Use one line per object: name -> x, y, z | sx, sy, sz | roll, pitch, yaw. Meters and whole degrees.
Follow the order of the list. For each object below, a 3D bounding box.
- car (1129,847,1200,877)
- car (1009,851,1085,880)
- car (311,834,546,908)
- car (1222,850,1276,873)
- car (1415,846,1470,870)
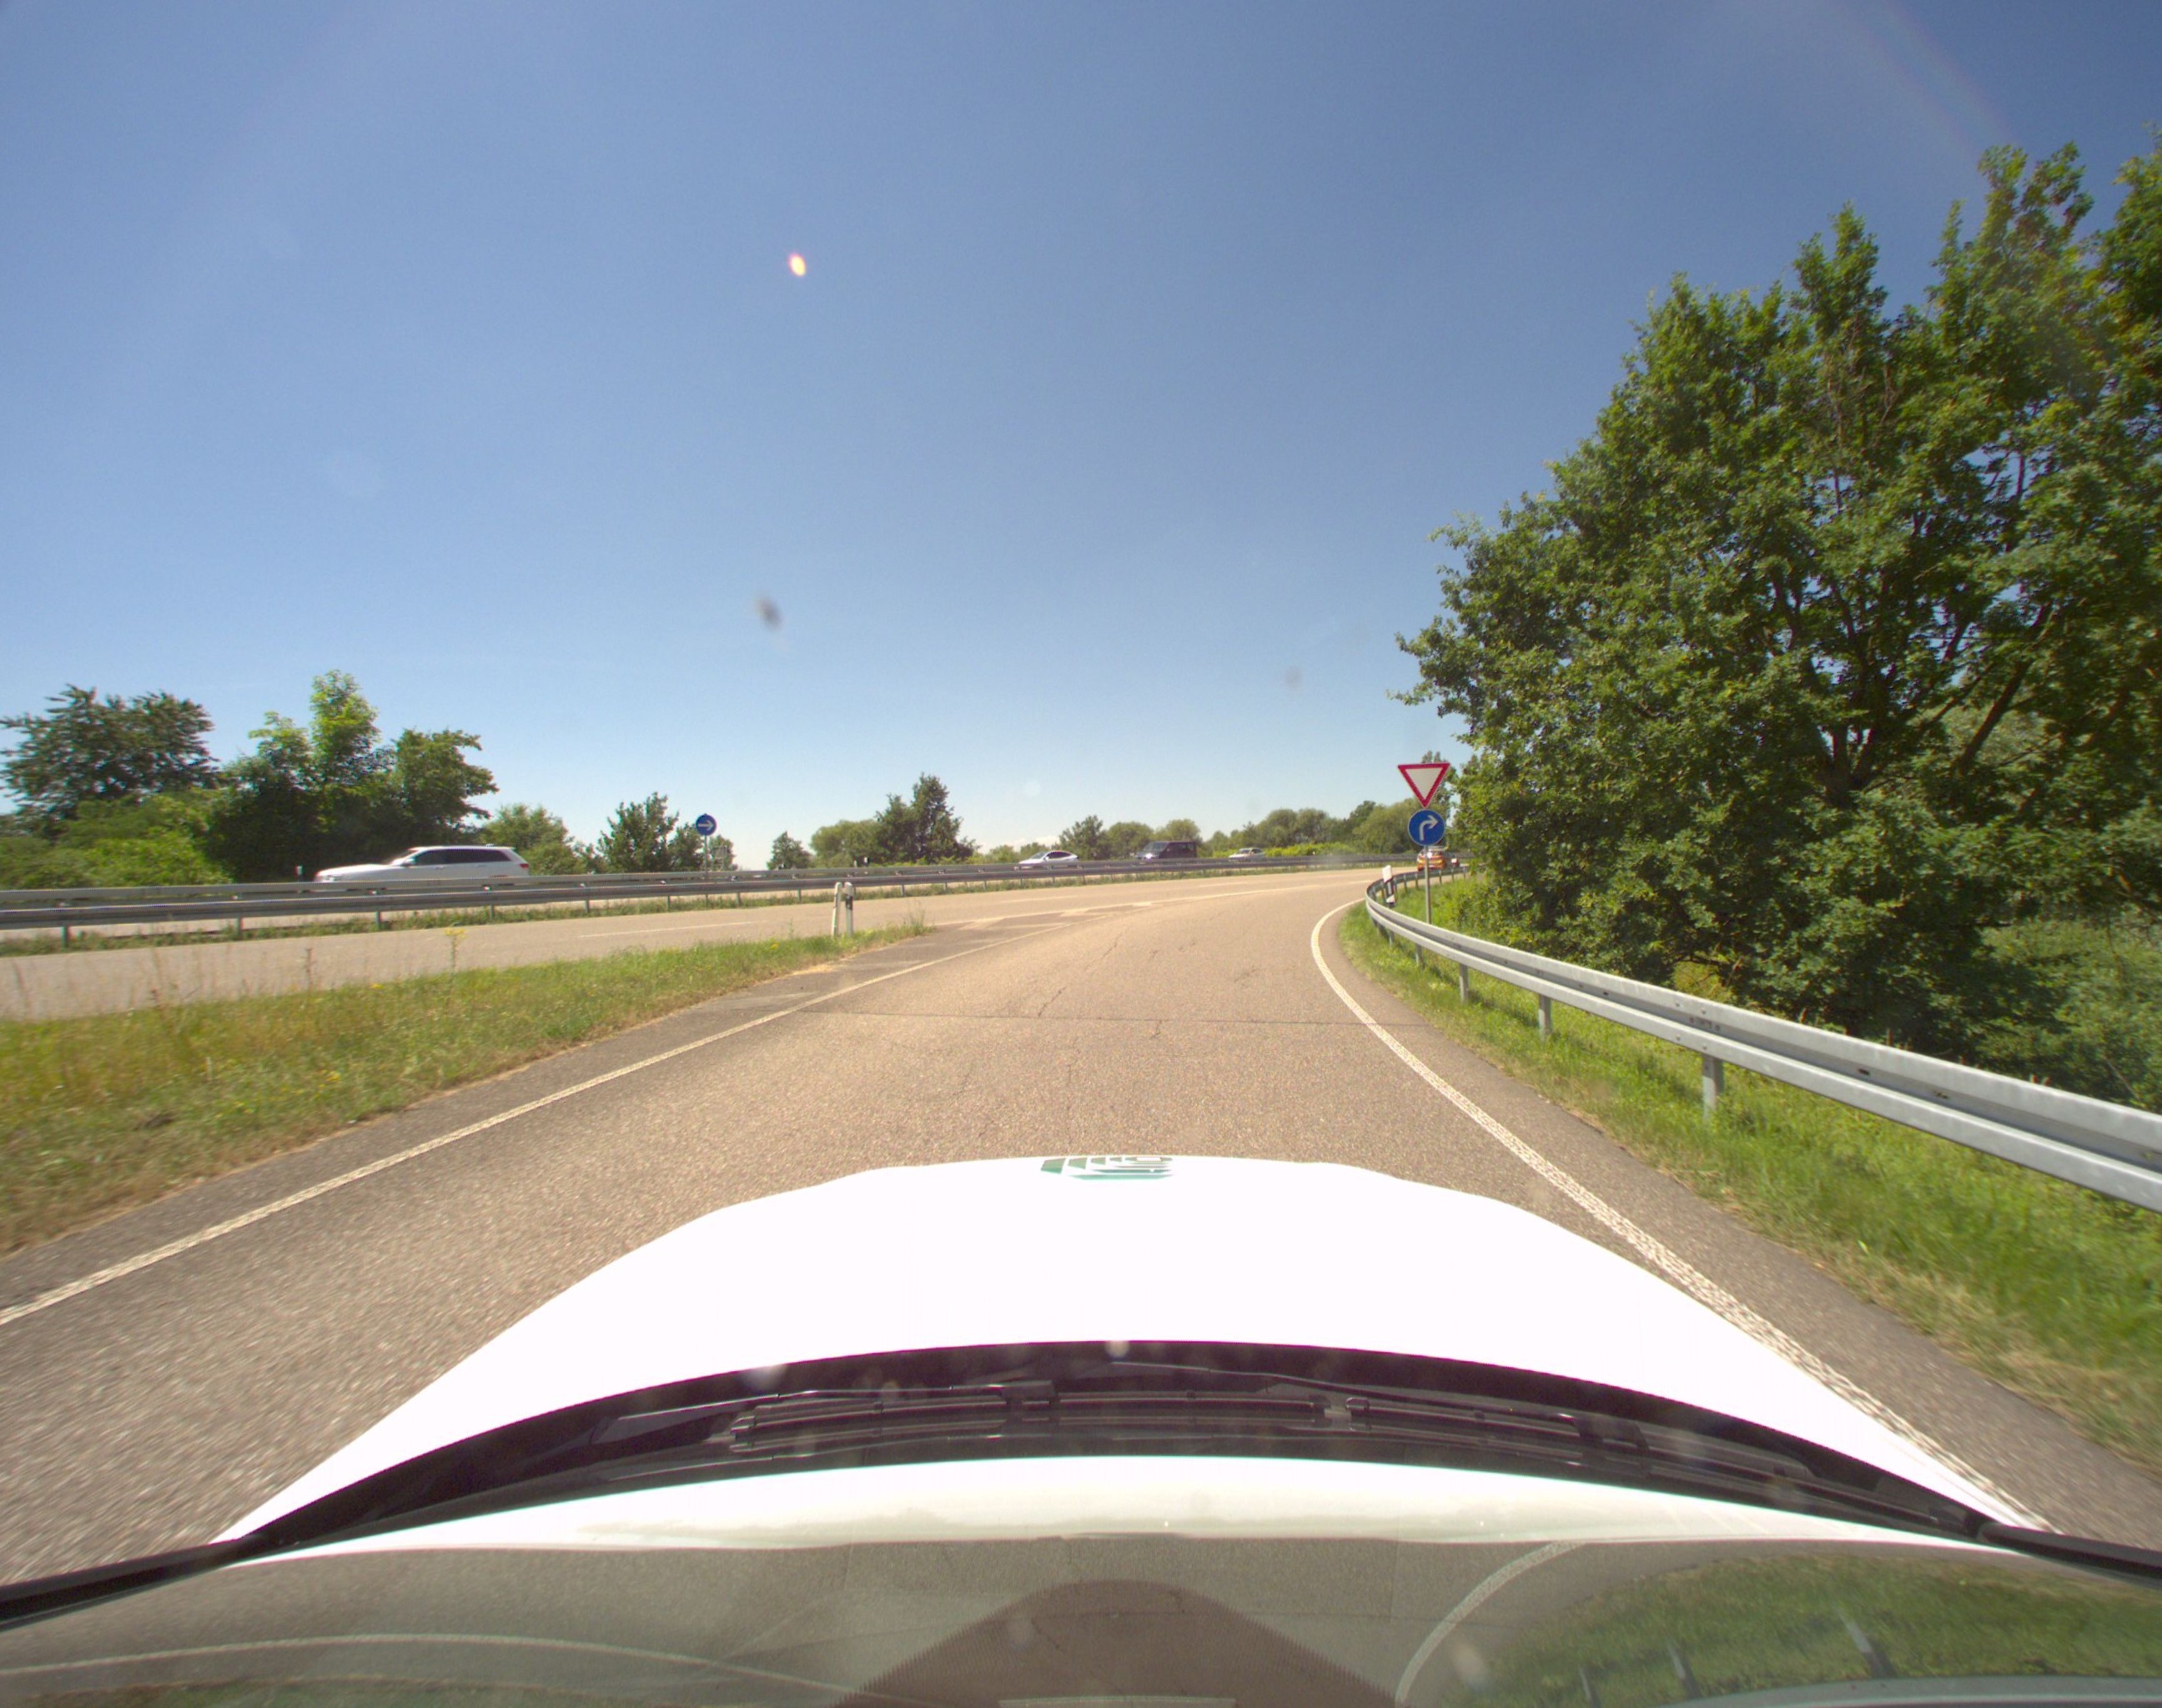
car -> 5.451, 0.540, 52.867 | 2.183, 1.893, 4.942 | -1, -1, 40
car -> -2.251, 0.777, 54.368 | 4.937, 1.893, 1.918 | 1, -2, -40
car -> -18.571, 0.471, 23.432 | 1.974, 1.893, 4.943 | -1, -1, 38
car -> 14.482, 0.670, 70.105 | 4.940, 1.893, 2.184 | 1, -2, -44
car -> 22.920, 0.210, 51.557 | 4.023, 1.464, 1.825 | -1, 1, -44
